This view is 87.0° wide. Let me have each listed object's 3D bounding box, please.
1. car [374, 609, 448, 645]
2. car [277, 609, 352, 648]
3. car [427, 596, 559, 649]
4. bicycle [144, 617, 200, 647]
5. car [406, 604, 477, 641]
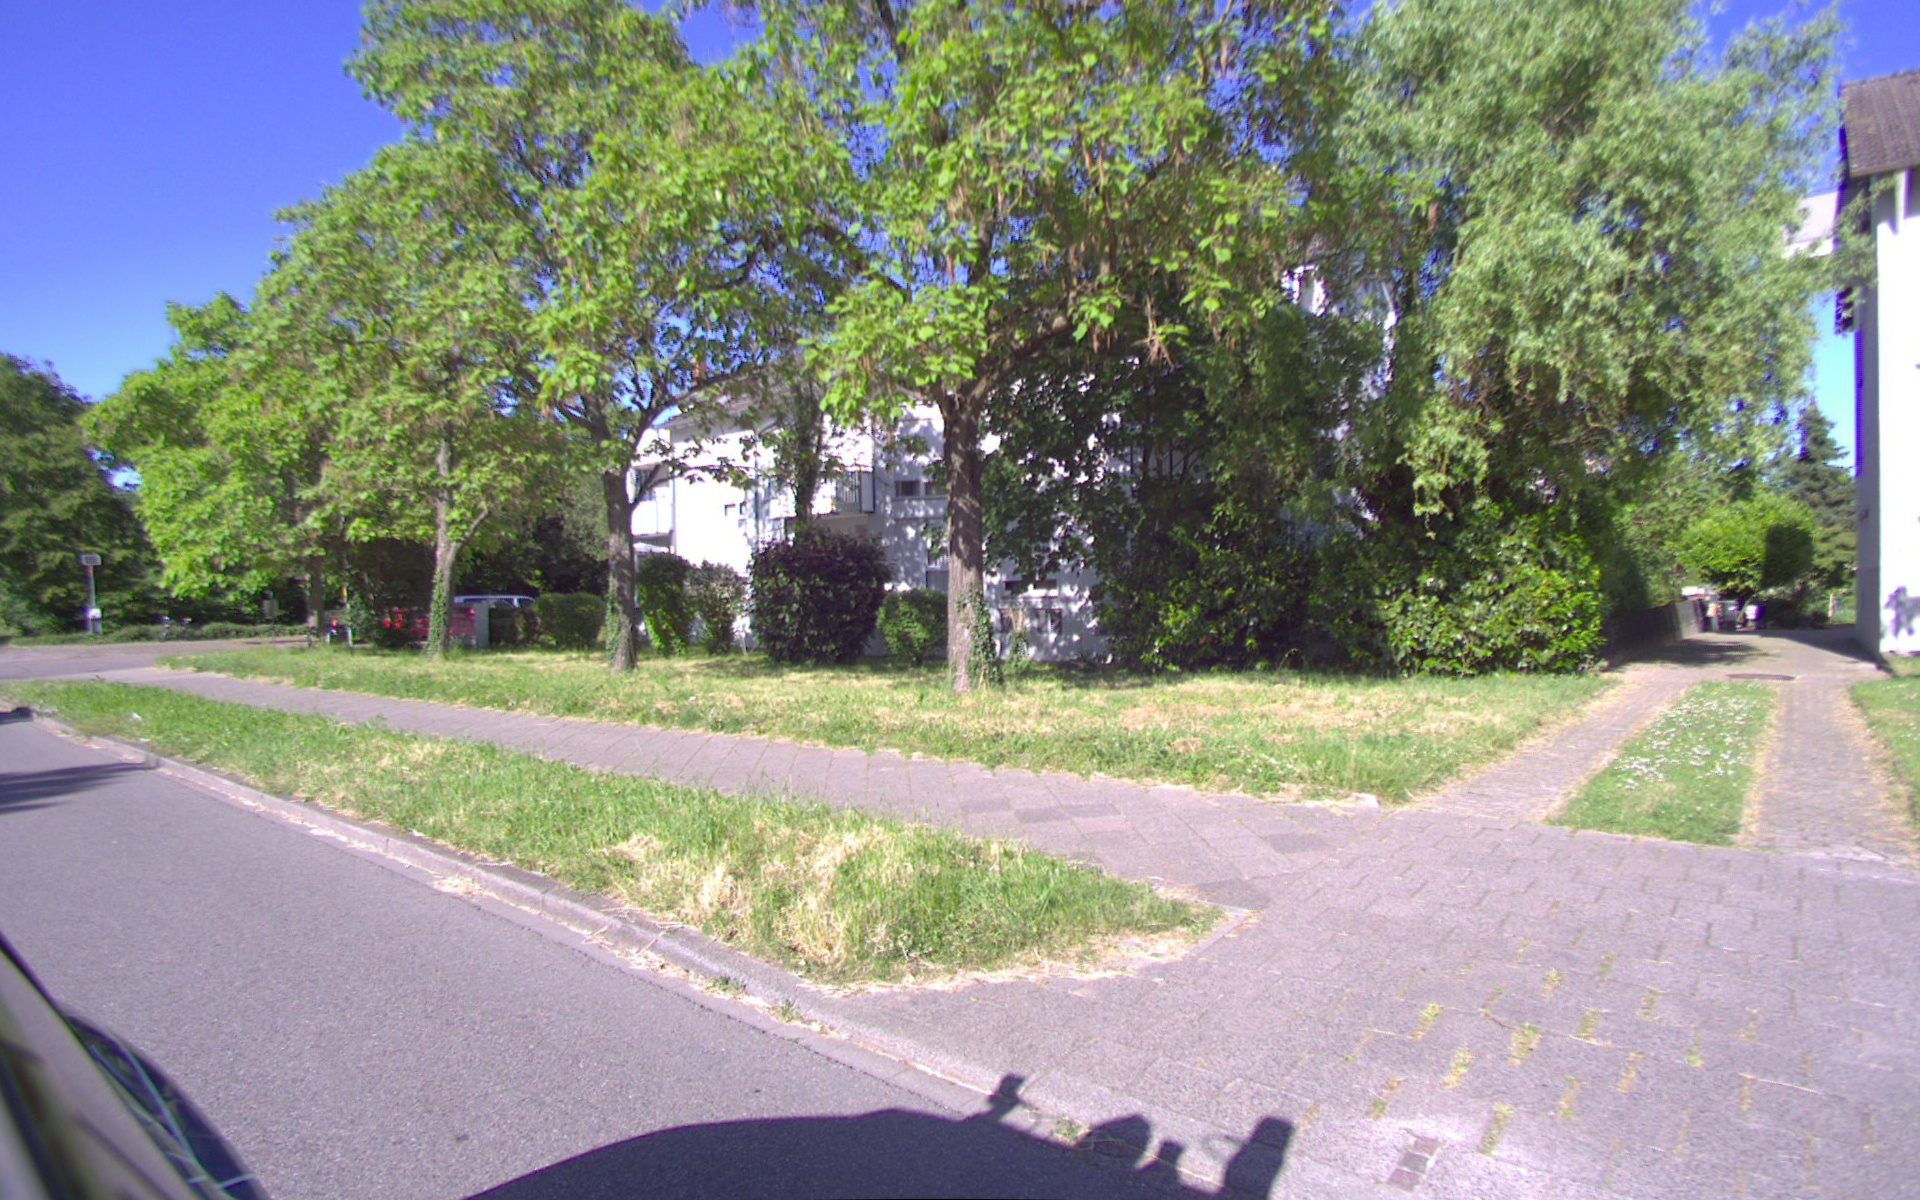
[{"bbox_3d":[-25.300,1.196,46.600,3.882,1.498,1.653,1,1,40],"label":"car"},{"bbox_3d":[-28.089,1.212,44.002,3.882,1.498,1.653,1,1,40],"label":"car"},{"bbox_3d":[-18.929,0.896,41.144,2.069,1.984,4.402,-3,-1,43],"label":"car"},{"bbox_3d":[-34.351,1.384,44.126,1.875,1.161,0.762,-1,3,-40],"label":"bicycle"},{"bbox_3d":[-24.987,1.057,48.731,3.882,1.615,1.653,1,1,40],"label":"car"}]
